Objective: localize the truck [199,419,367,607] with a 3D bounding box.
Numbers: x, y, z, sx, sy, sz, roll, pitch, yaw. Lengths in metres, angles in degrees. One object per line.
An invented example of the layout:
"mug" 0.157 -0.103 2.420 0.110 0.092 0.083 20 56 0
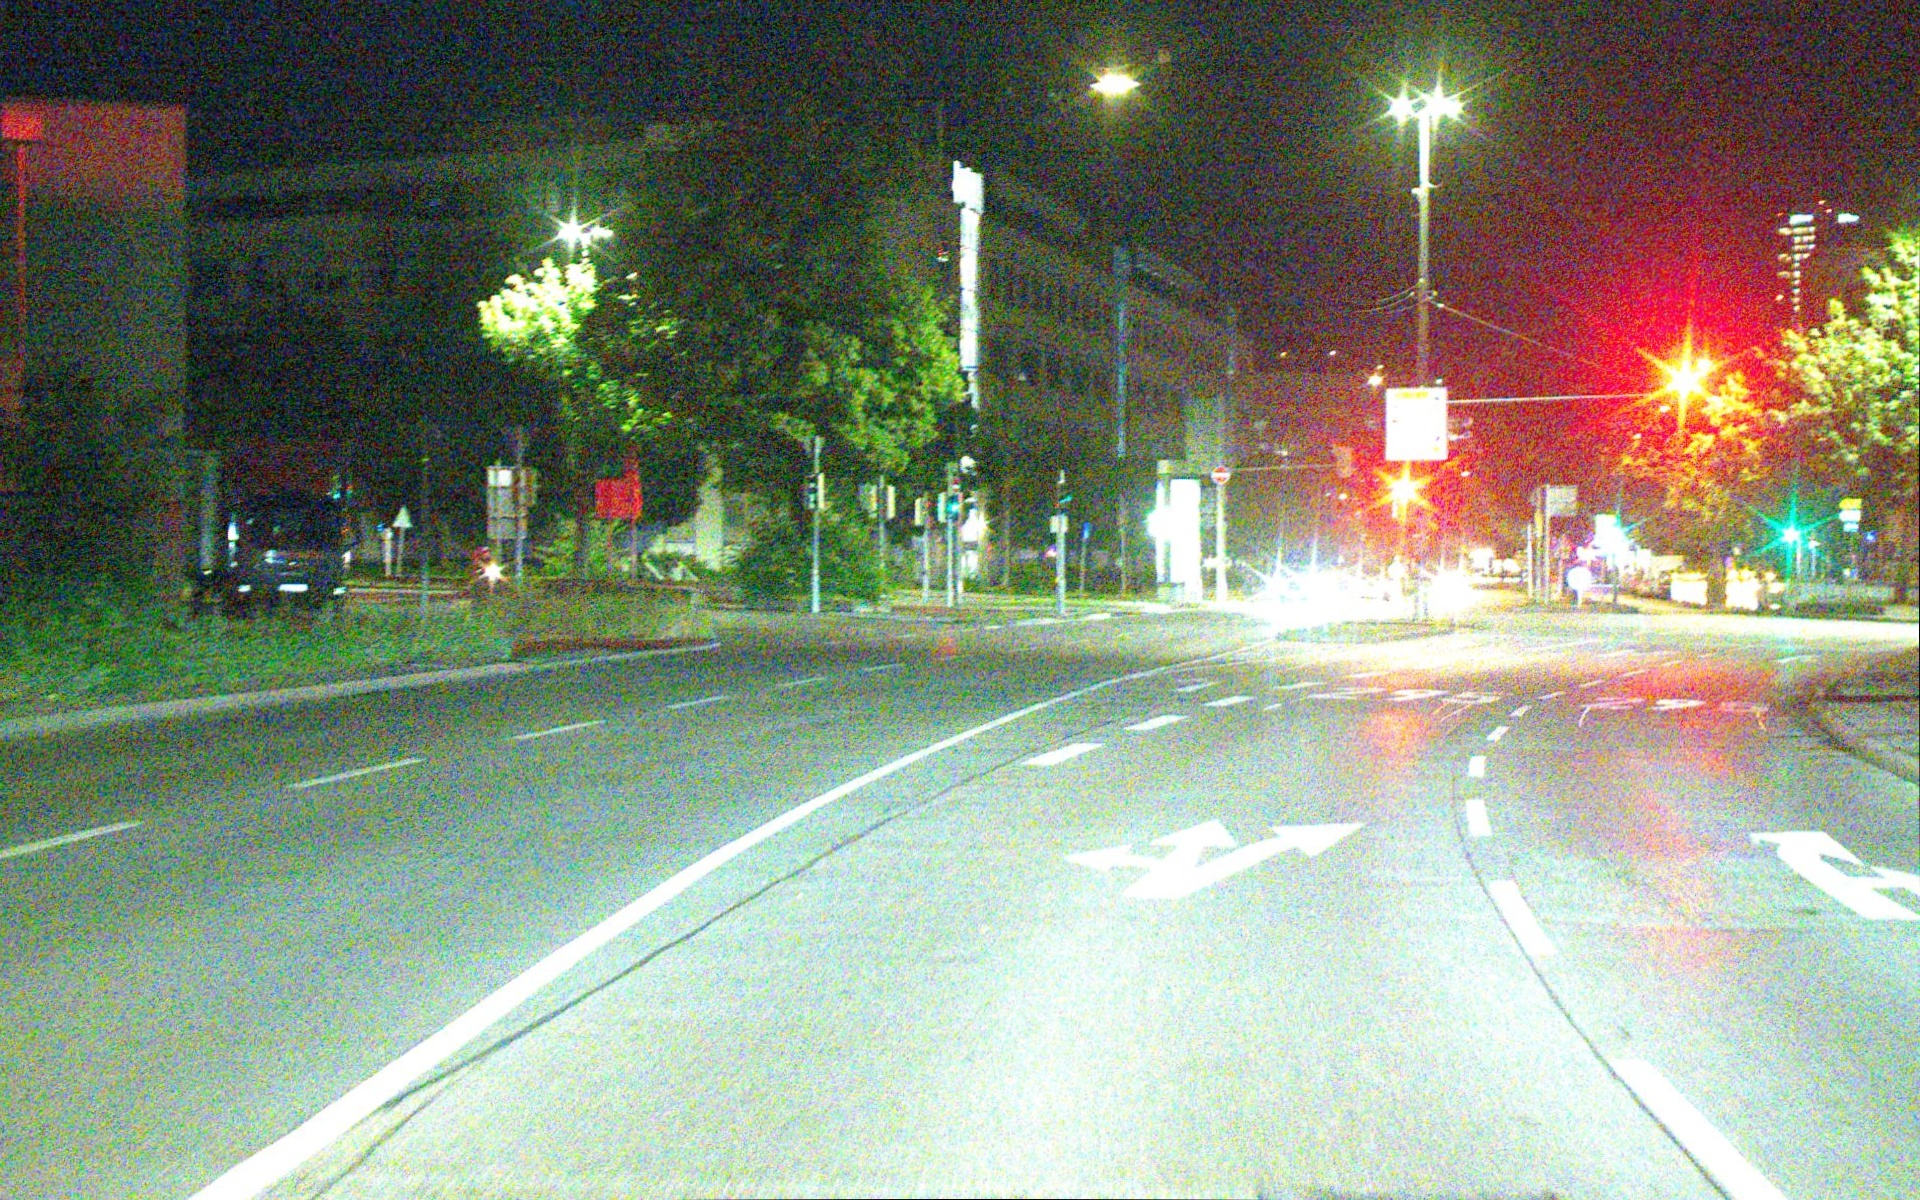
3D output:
"truck" -14.799 -1.810 74.645 2.937 3.783 9.560 1 0 -15

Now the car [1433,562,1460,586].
"car" 35.750 -1.932 252.712 1.758 1.722 3.546 1 0 11

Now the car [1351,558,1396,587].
"car" 19.095 -1.263 158.732 1.758 1.317 3.546 1 0 11

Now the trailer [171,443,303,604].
"trailer" -17.899 -1.844 84.834 2.612 3.778 6.516 1 0 -17

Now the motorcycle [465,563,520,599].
"motorcycle" -12.001 -0.494 88.231 0.578 0.893 2.155 -2 2 -31

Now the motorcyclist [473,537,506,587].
"motorcyclist" -12.036 -0.965 87.917 0.646 1.257 0.579 1 0 -31

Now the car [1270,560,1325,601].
"car" 12.709 -0.727 129.366 1.616 1.510 3.998 1 0 12
